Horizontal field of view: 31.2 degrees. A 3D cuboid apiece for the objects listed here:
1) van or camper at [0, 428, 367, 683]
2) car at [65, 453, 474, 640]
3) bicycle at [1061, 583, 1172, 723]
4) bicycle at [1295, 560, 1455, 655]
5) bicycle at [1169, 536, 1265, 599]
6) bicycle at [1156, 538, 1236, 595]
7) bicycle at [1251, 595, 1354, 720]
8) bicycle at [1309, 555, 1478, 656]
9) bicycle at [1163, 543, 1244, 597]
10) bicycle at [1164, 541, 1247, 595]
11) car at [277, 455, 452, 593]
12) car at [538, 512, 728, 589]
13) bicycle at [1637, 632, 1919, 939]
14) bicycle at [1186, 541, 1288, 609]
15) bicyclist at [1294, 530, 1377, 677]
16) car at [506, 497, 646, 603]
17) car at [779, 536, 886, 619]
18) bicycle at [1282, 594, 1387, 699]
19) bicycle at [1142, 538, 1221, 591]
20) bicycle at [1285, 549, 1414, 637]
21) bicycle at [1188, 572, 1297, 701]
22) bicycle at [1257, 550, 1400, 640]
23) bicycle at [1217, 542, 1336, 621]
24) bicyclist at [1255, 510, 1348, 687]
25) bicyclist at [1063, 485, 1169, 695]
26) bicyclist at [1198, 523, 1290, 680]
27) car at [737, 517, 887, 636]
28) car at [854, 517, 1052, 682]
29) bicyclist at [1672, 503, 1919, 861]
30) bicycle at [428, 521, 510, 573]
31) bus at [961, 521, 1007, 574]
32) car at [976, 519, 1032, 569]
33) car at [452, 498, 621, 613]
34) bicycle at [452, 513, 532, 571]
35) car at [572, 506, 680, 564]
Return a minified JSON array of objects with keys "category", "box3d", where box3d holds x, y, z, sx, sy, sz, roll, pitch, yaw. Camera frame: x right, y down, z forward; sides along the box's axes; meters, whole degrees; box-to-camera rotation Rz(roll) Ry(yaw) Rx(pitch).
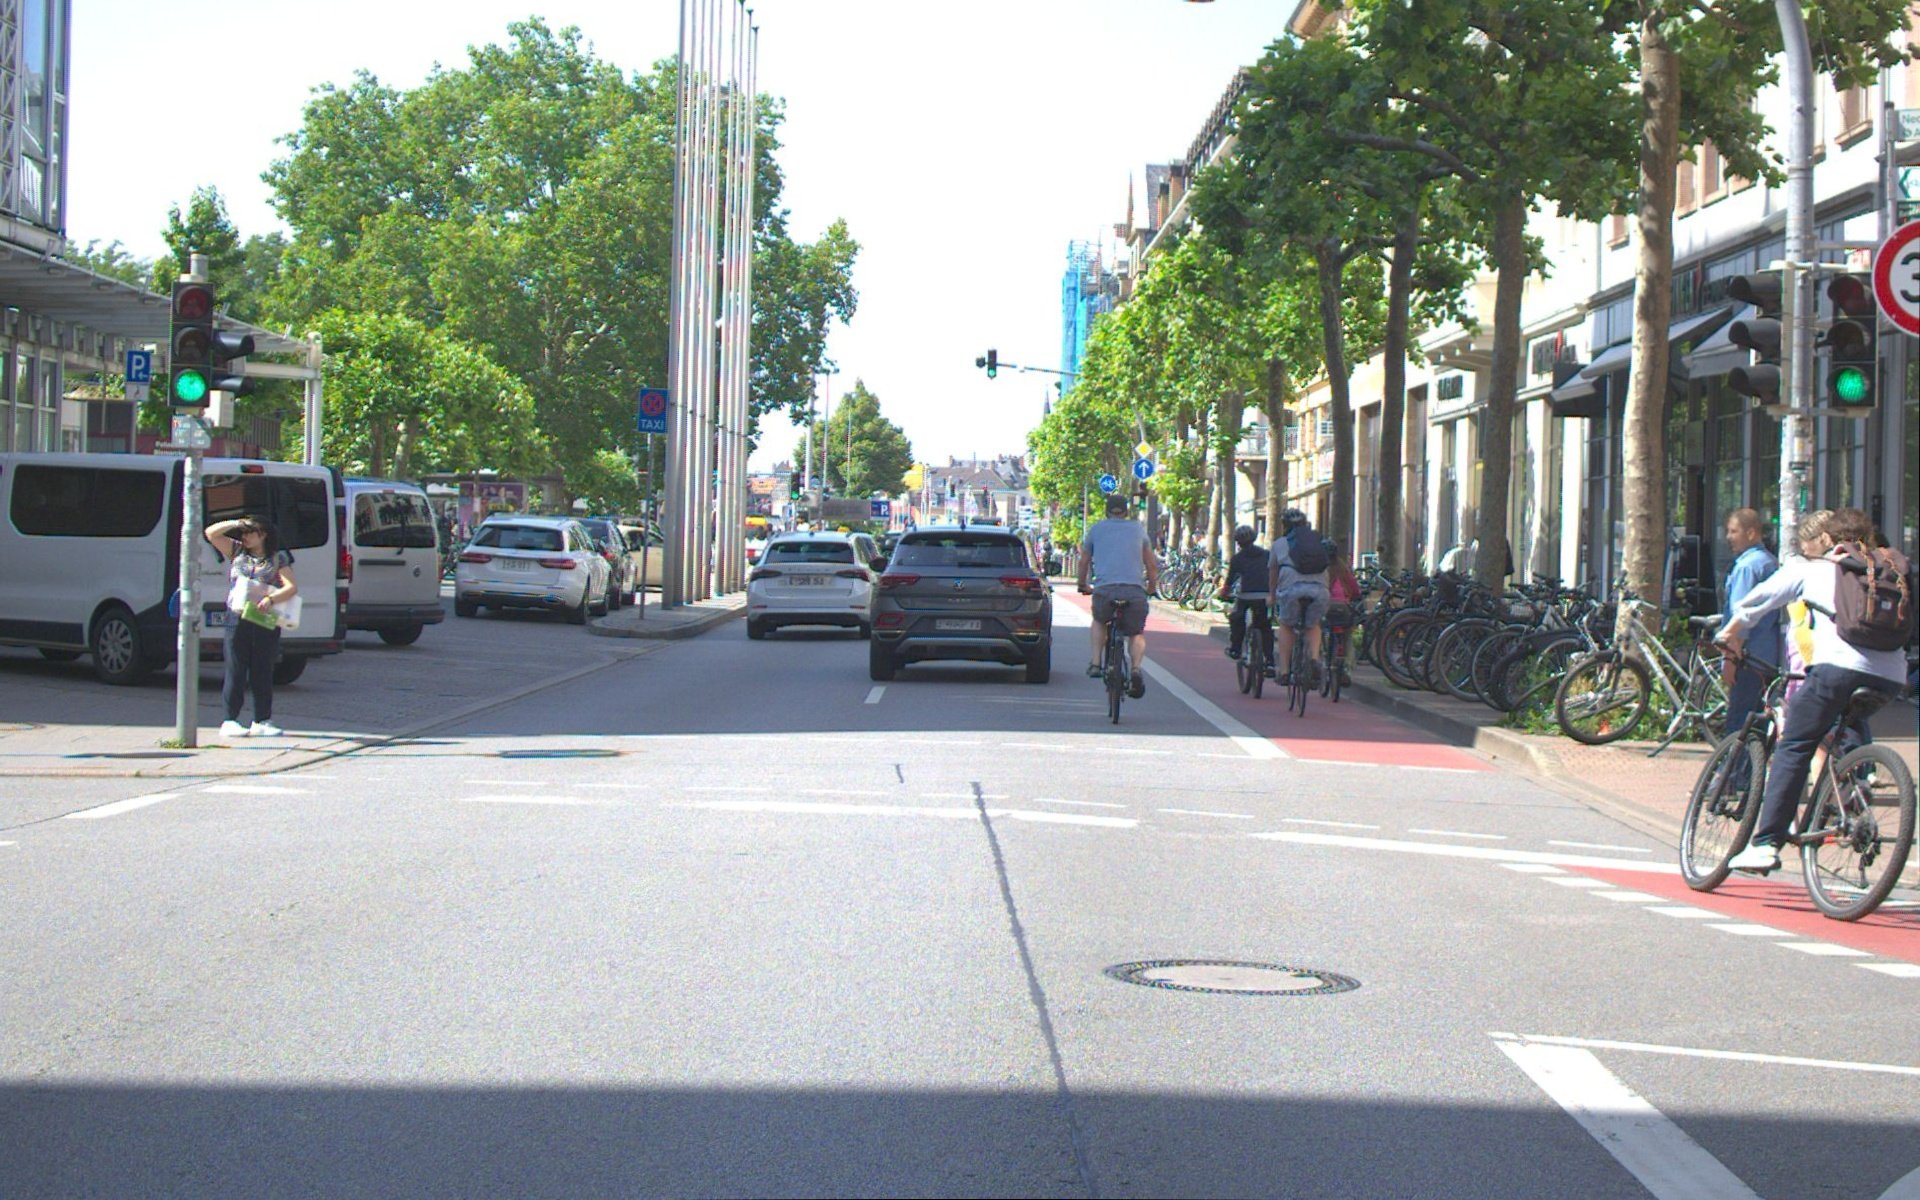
[{"category":"van or camper","box3d":[-7.565,-0.458,30.242,4.657,2.006,1.995,5,2,40]},{"category":"car","box3d":[-7.773,-0.627,38.524,4.441,1.903,2.005,3,2,37]},{"category":"bicycle","box3d":[1.226,0.398,27.375,0.774,1.002,2.329,1,1,0]},{"category":"bicycle","box3d":[5.166,0.092,42.829,1.839,1.089,0.565,3,1,-10]},{"category":"bicycle","box3d":[5.364,-0.672,71.729,1.931,1.244,0.736,2,1,3]},{"category":"bicycle","box3d":[5.215,-0.742,75.985,1.728,1.213,0.477,2,1,3]},{"category":"bicycle","box3d":[2.914,0.474,29.426,0.630,0.976,2.089,1,1,0]},{"category":"bicycle","box3d":[5.304,0.067,42.085,1.839,1.123,0.766,4,-1,-12]},{"category":"bicycle","box3d":[5.300,-0.654,74.899,1.728,1.105,0.477,2,1,3]},{"category":"bicycle","box3d":[5.288,-0.683,74.065,1.728,1.105,0.402,2,1,3]},{"category":"car","box3d":[-9.207,-1.187,53.507,1.832,2.007,4.685,2,1,0]},{"category":"car","box3d":[-7.284,-1.139,77.060,1.894,1.536,4.855,3,3,27]},{"category":"bicycle","box3d":[3.556,0.745,14.570,0.698,1.123,2.082,3,1,-6]},{"category":"bicycle","box3d":[5.211,-0.474,64.634,1.840,1.182,0.670,3,1,5]},{"category":"bicyclist","box3d":[3.561,0.034,32.659,0.600,1.353,0.721,3,0,-3]},{"category":"car","box3d":[-6.192,-0.836,55.810,1.761,1.594,4.710,2,1,-1]},{"category":"car","box3d":[-2.325,-0.437,63.415,1.845,1.444,4.000,1,1,-1]},{"category":"bicycle","box3d":[3.542,0.426,32.664,0.600,0.922,2.088,3,0,-3]},{"category":"bicycle","box3d":[5.341,-0.862,82.930,1.844,1.197,0.608,2,1,3]},{"category":"bicycle","box3d":[5.605,-0.102,49.442,1.774,1.193,0.578,2,1,-27]},{"category":"bicycle","box3d":[2.671,0.328,32.722,0.698,1.123,2.082,3,1,-3]},{"category":"bicycle","box3d":[5.120,-0.068,47.782,1.839,1.123,0.497,4,2,-7]},{"category":"bicycle","box3d":[5.142,-0.301,55.806,1.840,1.193,0.673,2,1,8]},{"category":"bicyclist","box3d":[2.924,-0.027,29.513,0.630,1.476,1.198,1,1,0]},{"category":"bicyclist","box3d":[1.233,-0.085,27.347,0.774,1.629,0.851,1,1,1]},{"category":"bicyclist","box3d":[2.690,0.009,32.645,0.698,1.435,0.791,3,1,-3]},{"category":"car","box3d":[-1.999,-0.359,47.494,1.845,1.554,4.000,1,1,0]},{"category":"car","box3d":[-0.127,-0.052,34.759,1.845,1.554,4.001,1,1,-2]},{"category":"bicyclist","box3d":[3.555,0.328,14.616,0.698,1.440,0.961,3,1,-6]},{"category":"bicycle","box3d":[-11.191,-1.208,78.390,1.781,1.128,0.563,2,1,-2]},{"category":"bus","box3d":[1.697,-3.723,244.770,2.995,3.581,11.745,2,1,0]},{"category":"car","box3d":[1.561,-2.021,122.468,1.845,1.662,4.000,3,1,0]},{"category":"car","box3d":[-6.102,-0.687,50.012,1.799,1.518,4.739,3,2,0]},{"category":"bicycle","box3d":[-11.048,-1.361,81.178,1.781,1.304,0.663,2,1,-2]},{"category":"car","box3d":[-11.946,-2.309,123.283,1.861,1.948,4.755,2,1,21]}]
